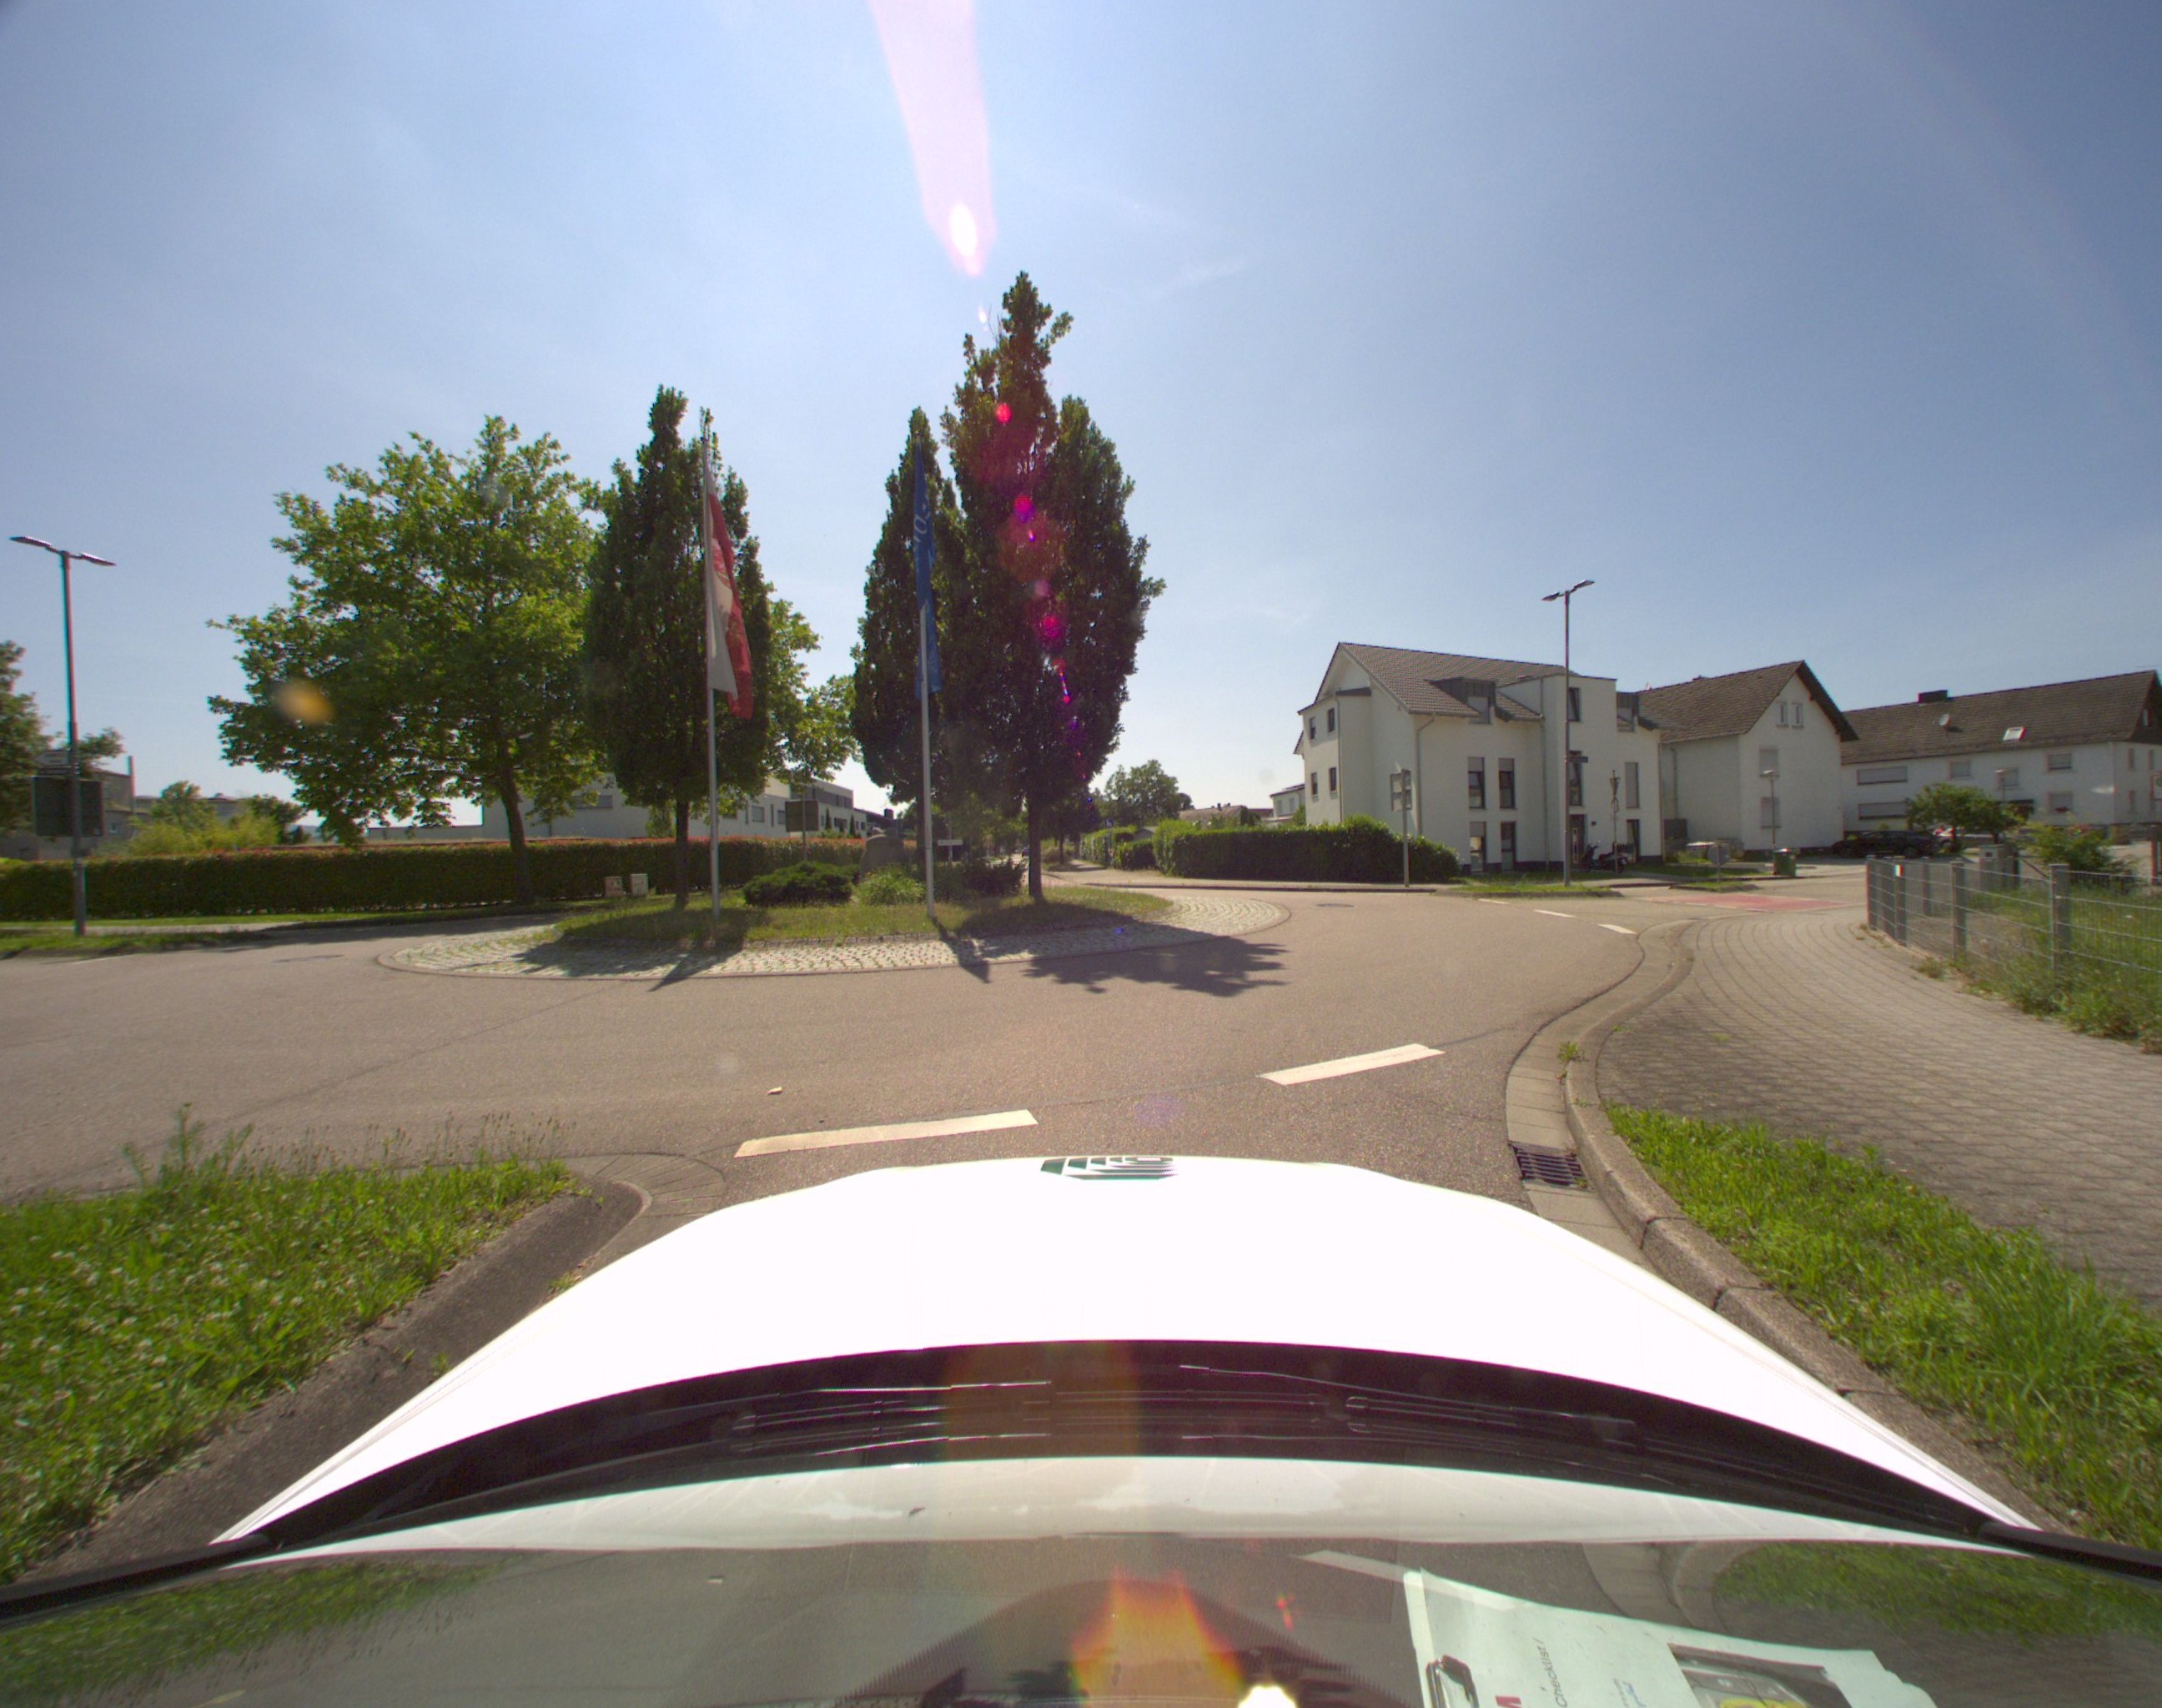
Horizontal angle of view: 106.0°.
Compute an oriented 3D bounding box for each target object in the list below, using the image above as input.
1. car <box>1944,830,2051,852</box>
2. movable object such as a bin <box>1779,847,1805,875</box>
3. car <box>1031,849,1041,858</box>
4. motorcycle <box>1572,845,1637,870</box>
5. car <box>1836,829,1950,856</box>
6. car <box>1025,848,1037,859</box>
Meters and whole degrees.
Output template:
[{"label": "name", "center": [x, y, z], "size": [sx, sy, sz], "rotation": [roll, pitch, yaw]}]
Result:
[{"label": "car", "center": [54.923, -0.769, 48.887], "size": [1.844, 1.190, 3.966], "rotation": [-2, 1, -26]}, {"label": "movable object such as a bin", "center": [28.704, 0.280, 32.879], "size": [0.458, 1.083, 0.643], "rotation": [-1, 0, -16]}, {"label": "car", "center": [-9.318, -0.028, 168.652], "size": [1.989, 1.770, 3.996], "rotation": [0, 0, -3]}, {"label": "motorcycle", "center": [21.839, 0.133, 34.040], "size": [0.672, 1.013, 2.353], "rotation": [1, 0, -20]}, {"label": "car", "center": [43.161, -0.596, 43.390], "size": [1.664, 1.383, 3.966], "rotation": [-1, 0, -26]}, {"label": "car", "center": [-8.618, -0.029, 140.243], "size": [1.919, 1.886, 3.995], "rotation": [0, 0, -3]}]
